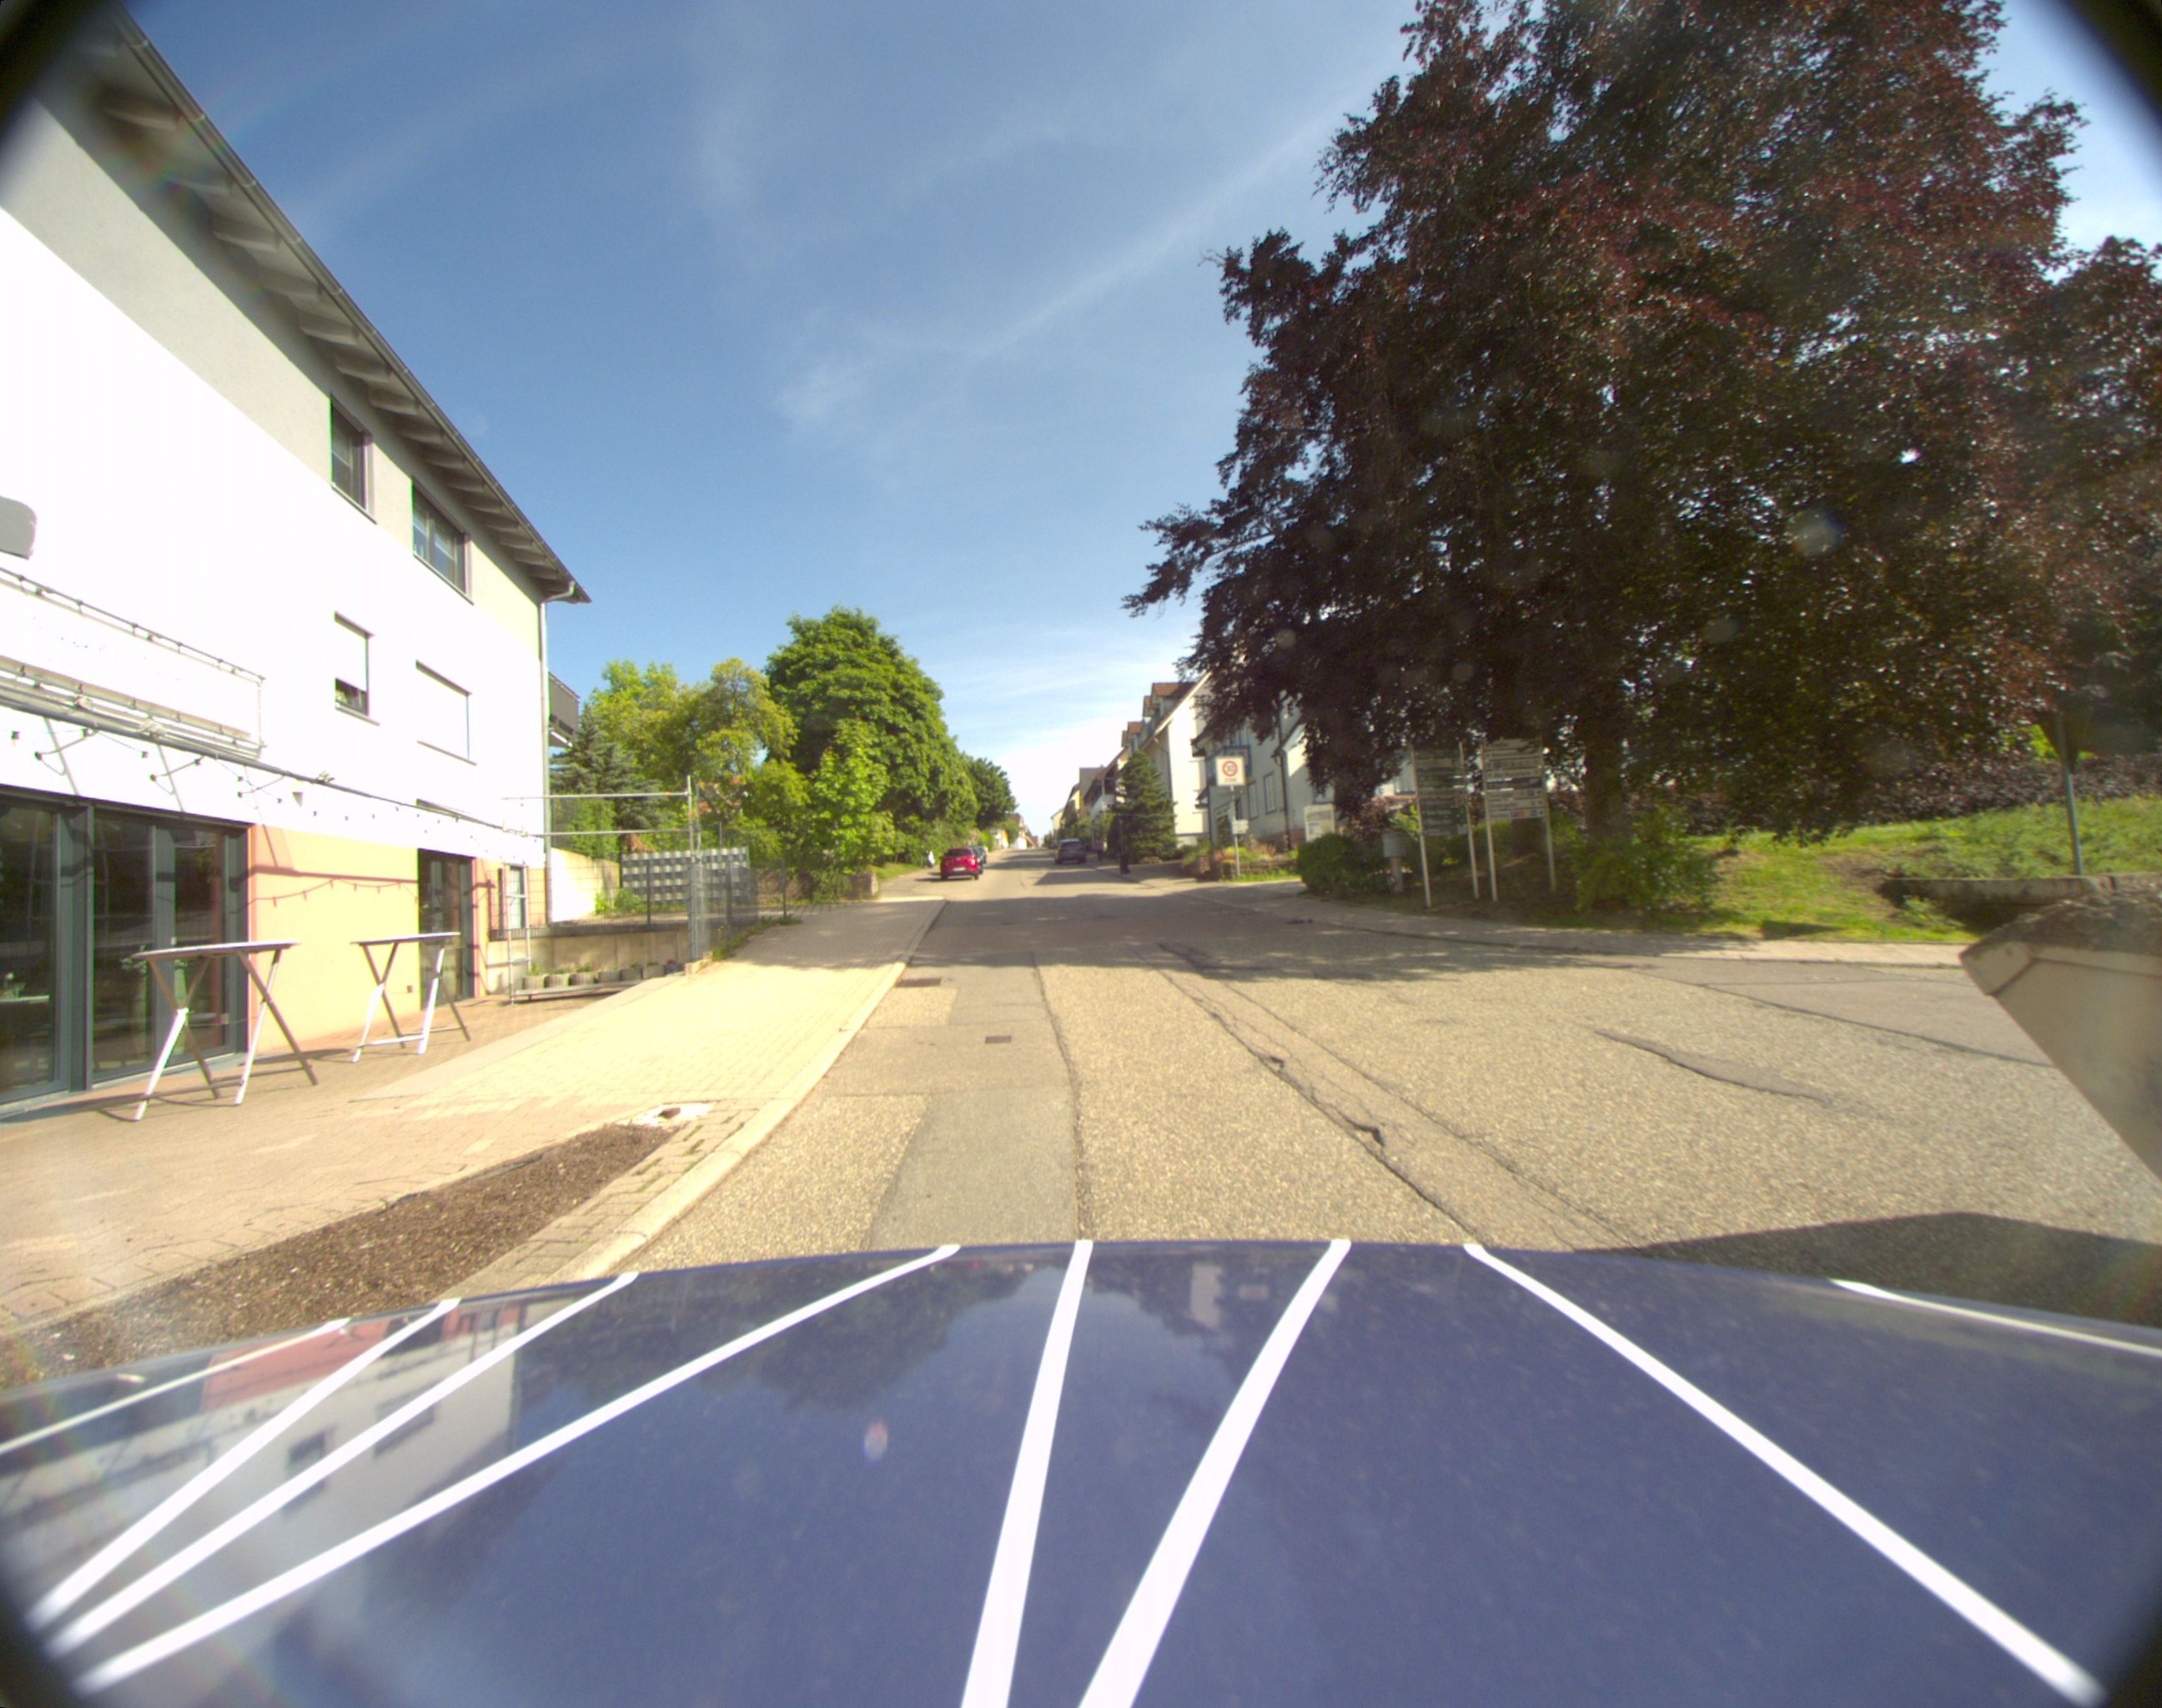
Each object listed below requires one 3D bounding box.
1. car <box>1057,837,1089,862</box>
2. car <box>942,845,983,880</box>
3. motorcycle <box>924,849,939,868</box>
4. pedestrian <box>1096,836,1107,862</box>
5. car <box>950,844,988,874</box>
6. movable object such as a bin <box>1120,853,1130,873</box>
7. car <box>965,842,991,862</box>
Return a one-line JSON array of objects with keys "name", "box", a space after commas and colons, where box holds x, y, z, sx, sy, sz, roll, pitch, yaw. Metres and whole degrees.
[{"name": "car", "box": [-0.592, -0.309, 51.976, 1.808, 1.592, 3.808, -3, 1, -5]}, {"name": "car", "box": [-5.443, 0.352, 35.256, 1.624, 1.489, 3.808, -3, 1, -5]}, {"name": "motorcycle", "box": [-9.817, 0.264, 49.889, 0.785, 1.175, 2.186, -2, 1, -7]}, {"name": "pedestrian", "box": [1.298, -0.325, 47.919, 0.668, 1.566, 0.780, -2, 2, 1]}, {"name": "car", "box": [-5.975, 0.249, 40.803, 1.776, 1.462, 3.808, -3, 1, -5]}, {"name": "movable object such as a bin", "box": [1.901, 0.383, 33.018, 0.351, 0.859, 0.395, -2, 1, -5]}, {"name": "car", "box": [-7.989, -0.191, 59.205, 1.776, 1.462, 3.808, -3, 1, -5]}]
